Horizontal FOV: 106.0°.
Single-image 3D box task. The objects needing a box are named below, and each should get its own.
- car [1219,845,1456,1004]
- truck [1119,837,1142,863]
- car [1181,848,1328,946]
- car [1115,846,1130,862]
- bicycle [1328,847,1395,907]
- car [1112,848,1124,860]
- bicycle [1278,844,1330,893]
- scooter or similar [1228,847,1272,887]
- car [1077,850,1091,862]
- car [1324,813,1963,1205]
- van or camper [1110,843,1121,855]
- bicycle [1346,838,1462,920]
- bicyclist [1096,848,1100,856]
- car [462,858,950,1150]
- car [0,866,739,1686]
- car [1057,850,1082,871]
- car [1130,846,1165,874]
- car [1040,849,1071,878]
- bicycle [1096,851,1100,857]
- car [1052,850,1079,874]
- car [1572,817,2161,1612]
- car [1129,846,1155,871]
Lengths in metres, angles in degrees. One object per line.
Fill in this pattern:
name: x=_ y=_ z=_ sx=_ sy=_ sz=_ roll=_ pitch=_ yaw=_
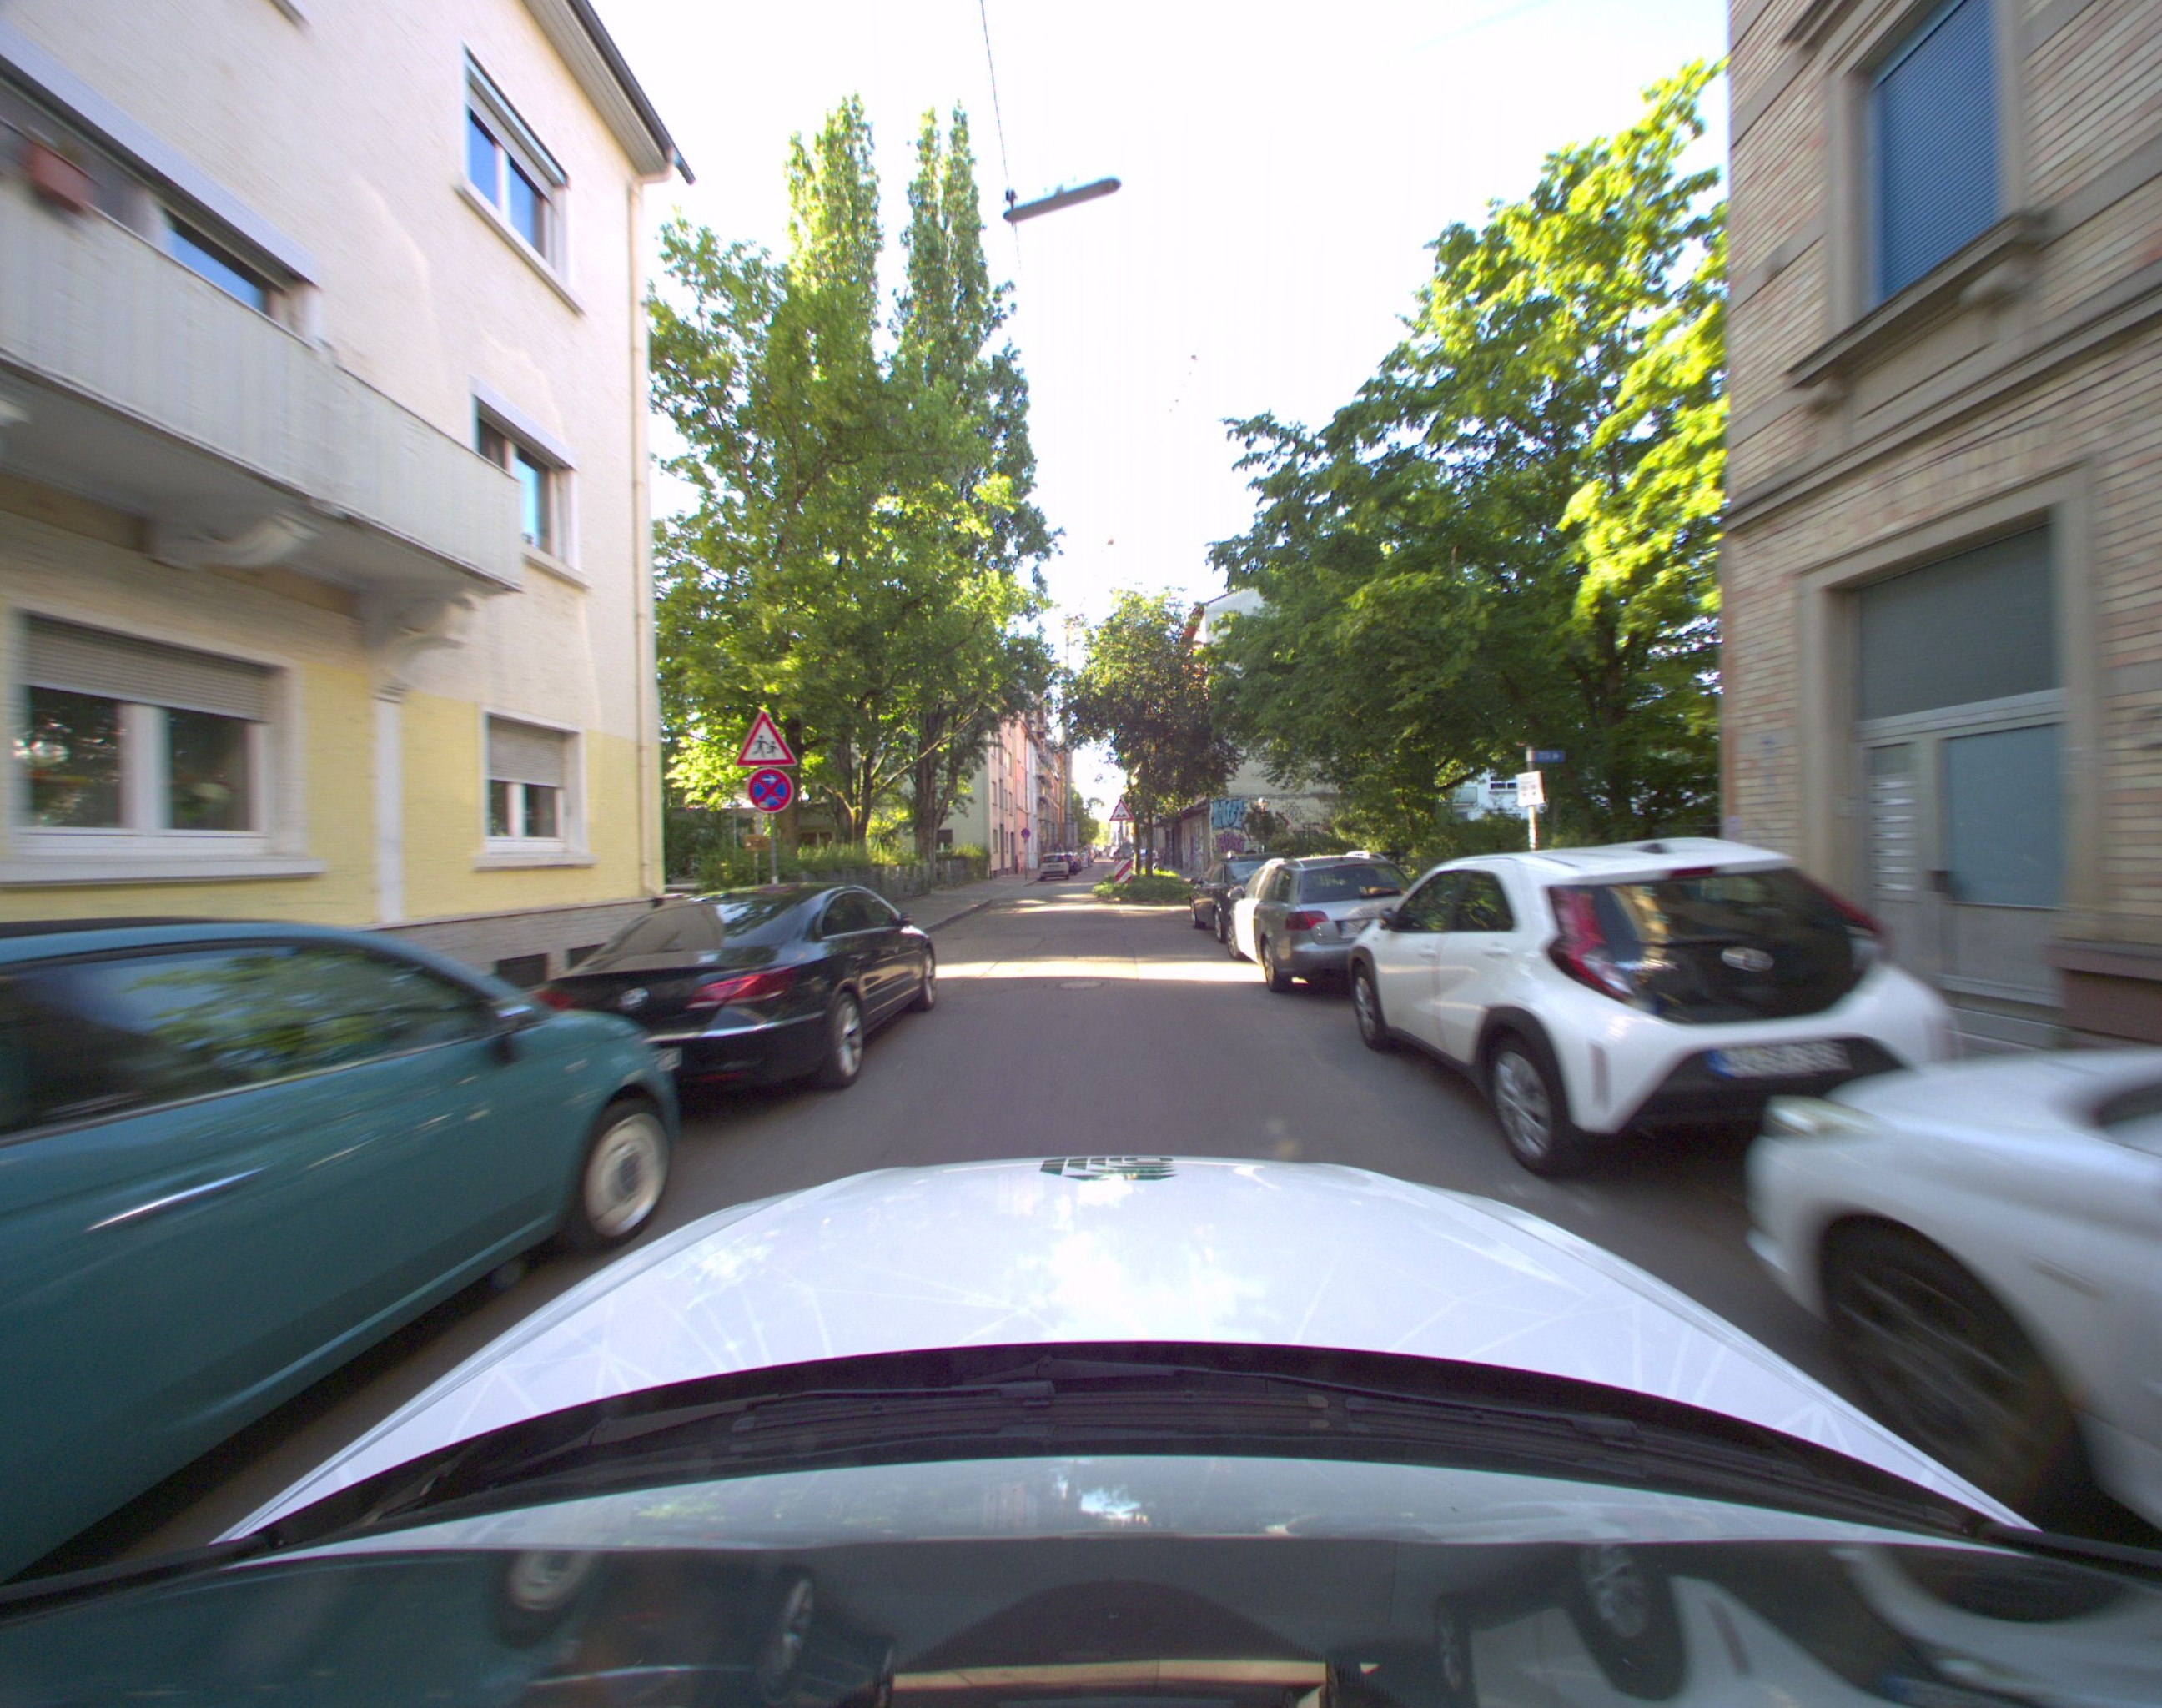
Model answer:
car: x=2.864 y=0.674 z=10.090 sx=1.653 sy=1.493 sz=4.355 roll=-2 pitch=0 yaw=2
truck: x=5.349 y=-0.461 z=88.604 sx=2.182 sy=2.607 sz=5.234 roll=-3 pitch=0 yaw=0
car: x=3.045 y=0.680 z=15.229 sx=1.716 sy=1.493 sz=4.412 roll=-3 pitch=0 yaw=-1
car: x=5.686 y=0.002 z=111.605 sx=1.670 sy=2.031 sz=3.868 roll=-2 pitch=0 yaw=-1
bicycle: x=6.037 y=0.463 z=17.652 sx=0.843 sy=1.200 sz=1.983 roll=-2 pitch=1 yaw=3
car: x=6.784 y=0.027 z=149.521 sx=1.987 sy=2.013 sz=4.000 roll=-2 pitch=0 yaw=0
bicycle: x=6.284 y=0.372 z=23.146 sx=0.843 sy=1.267 sz=2.694 roll=-2 pitch=1 yaw=3
scooter or similar: x=5.646 y=0.431 z=27.231 sx=0.548 sy=1.261 sz=1.459 roll=-3 pitch=0 yaw=-29
car: x=0.338 y=0.253 z=100.845 sx=1.670 sy=1.445 sz=3.868 roll=-2 pitch=0 yaw=-1
car: x=2.907 y=0.639 z=5.281 sx=1.587 sy=1.585 sz=3.765 roll=-2 pitch=0 yaw=1
van or camper: x=7.467 y=-0.996 z=178.148 sx=1.989 sy=2.508 sz=4.198 roll=-3 pitch=0 yaw=-3
bicycle: x=5.861 y=0.414 z=15.010 sx=1.285 sy=1.301 sz=2.329 roll=-4 pitch=0 yaw=4
bicyclist: x=3.729 y=-0.372 z=177.166 sx=0.727 sy=1.761 sz=0.836 roll=-1 pitch=1 yaw=2
car: x=-2.418 y=0.836 z=6.679 sx=1.773 sy=1.443 sz=4.393 roll=-4 pitch=0 yaw=1
car: x=-2.742 y=0.859 z=2.478 sx=1.586 sy=1.450 sz=3.490 roll=-4 pitch=0 yaw=5
car: x=-0.861 y=0.464 z=61.689 sx=1.669 sy=1.511 sz=4.416 roll=-3 pitch=0 yaw=1
car: x=3.986 y=0.340 z=49.378 sx=1.715 sy=1.562 sz=4.398 roll=-2 pitch=0 yaw=0
car: x=-1.463 y=0.536 z=47.753 sx=1.670 sy=1.539 sz=3.868 roll=-3 pitch=0 yaw=-1
bicycle: x=3.726 y=-0.010 z=177.139 sx=0.722 sy=1.186 sz=2.043 roll=-1 pitch=1 yaw=2
car: x=-1.050 y=0.543 z=56.686 sx=1.724 sy=1.539 sz=4.376 roll=-3 pitch=0 yaw=-1
car: x=2.812 y=0.663 z=1.205 sx=1.589 sy=1.450 sz=4.000 roll=-4 pitch=0 yaw=-2
car: x=4.131 y=0.303 z=55.708 sx=1.633 sy=1.656 sz=3.872 roll=-2 pitch=0 yaw=2
